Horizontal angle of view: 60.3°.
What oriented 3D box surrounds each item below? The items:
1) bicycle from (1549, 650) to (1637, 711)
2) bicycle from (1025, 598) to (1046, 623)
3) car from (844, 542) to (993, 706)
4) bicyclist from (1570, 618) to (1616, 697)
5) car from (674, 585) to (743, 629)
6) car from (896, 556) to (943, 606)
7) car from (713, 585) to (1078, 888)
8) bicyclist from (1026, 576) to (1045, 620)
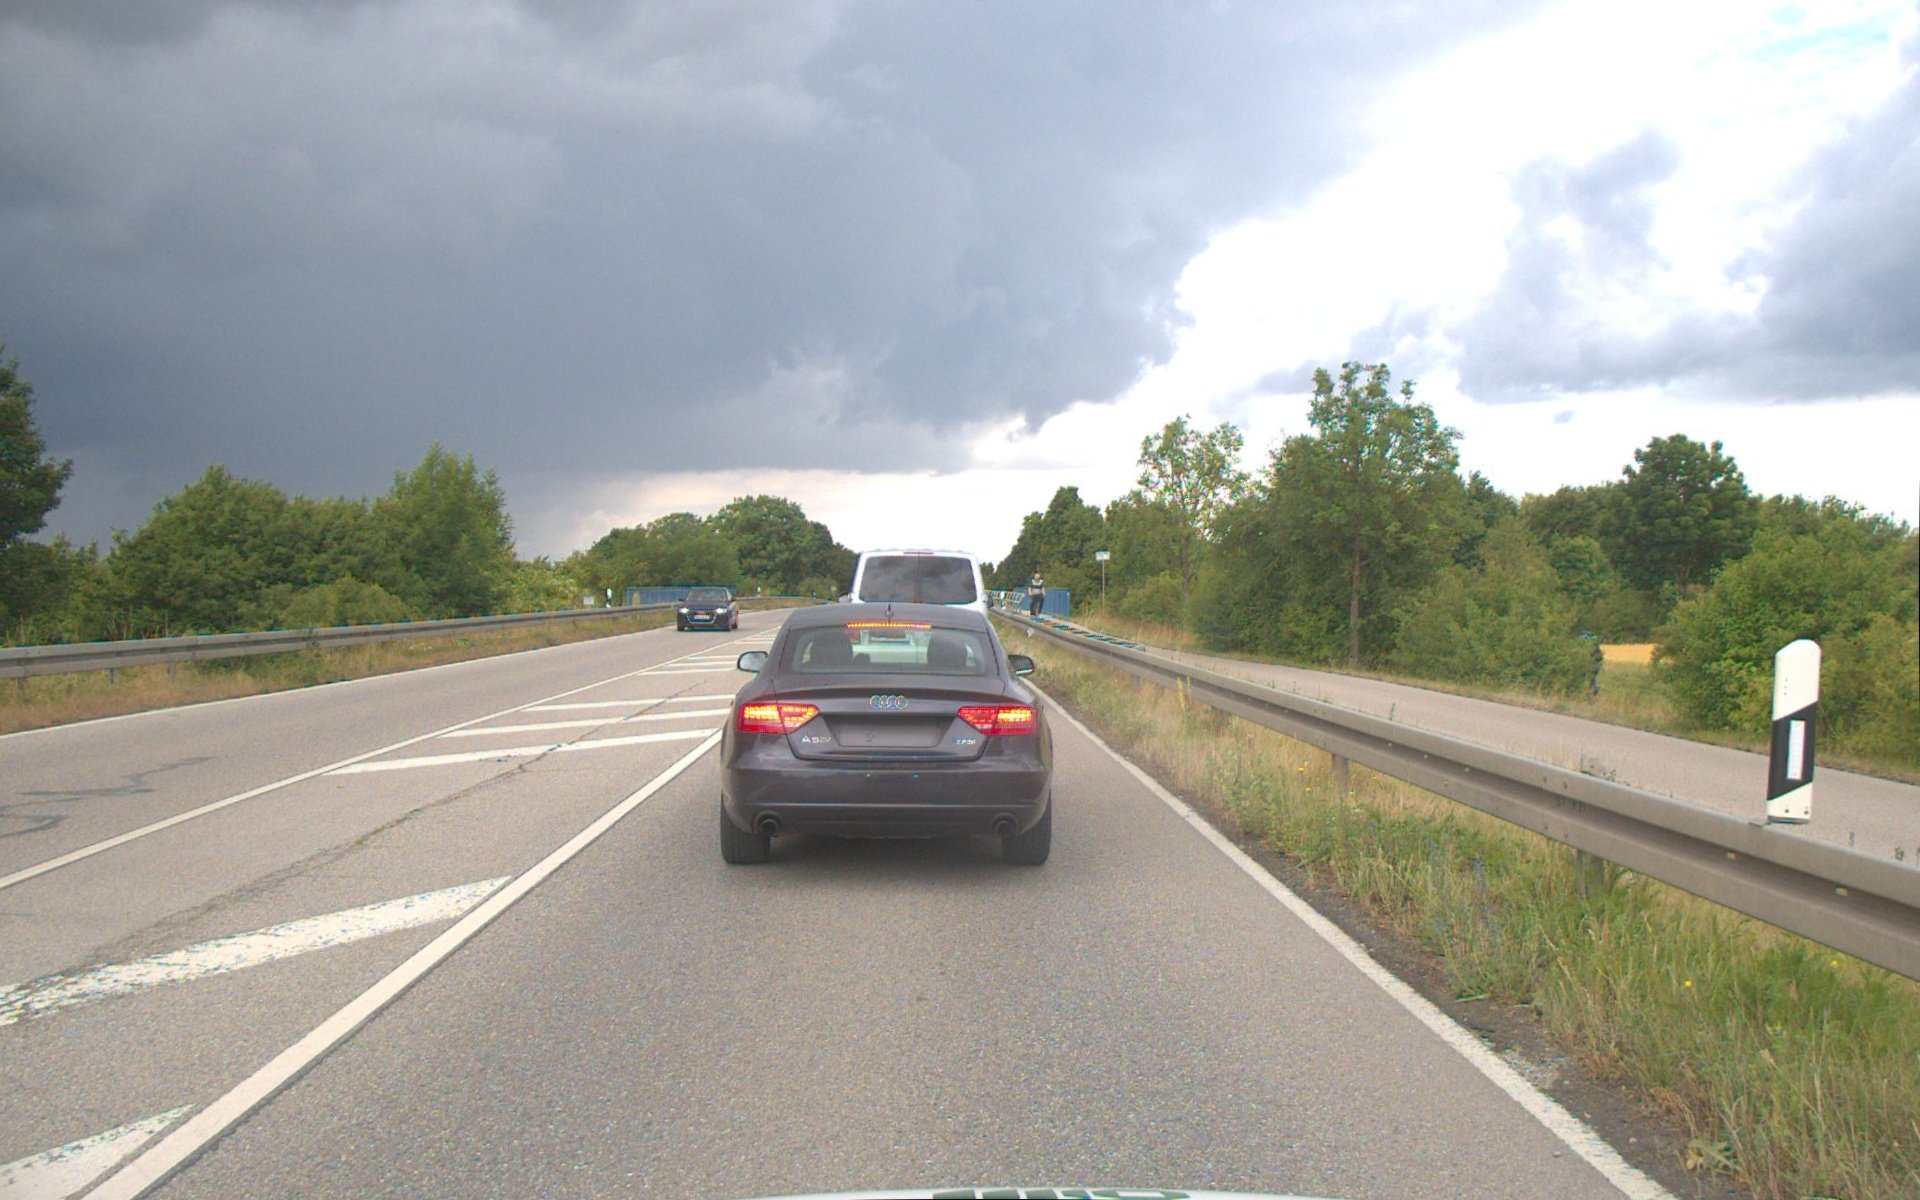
[{"bbox_3d":[13.092,1.645,34.301,0.643,1.158,2.829,1,-1,-2],"label":"bicycle"},{"bbox_3d":[2.846,0.387,62.585,0.652,0.936,1.830,0,0,-2],"label":"bicycle"},{"bbox_3d":[-0.548,0.292,21.685,1.750,1.923,3.998,1,0,-2],"label":"car"},{"bbox_3d":[13.101,1.179,34.263,0.643,1.608,0.743,1,-1,-2],"label":"bicyclist"},{"bbox_3d":[-8.307,0.214,54.846,1.825,1.400,3.998,0,0,-2],"label":"car"},{"bbox_3d":[-2.162,-1.007,88.719,2.398,2.548,5.040,1,1,-1],"label":"car"},{"bbox_3d":[-0.366,0.668,10.013,1.750,1.448,3.998,1,0,-2],"label":"car"},{"bbox_3d":[2.845,-0.074,62.435,0.634,1.674,0.866,0,0,-2],"label":"bicyclist"}]
